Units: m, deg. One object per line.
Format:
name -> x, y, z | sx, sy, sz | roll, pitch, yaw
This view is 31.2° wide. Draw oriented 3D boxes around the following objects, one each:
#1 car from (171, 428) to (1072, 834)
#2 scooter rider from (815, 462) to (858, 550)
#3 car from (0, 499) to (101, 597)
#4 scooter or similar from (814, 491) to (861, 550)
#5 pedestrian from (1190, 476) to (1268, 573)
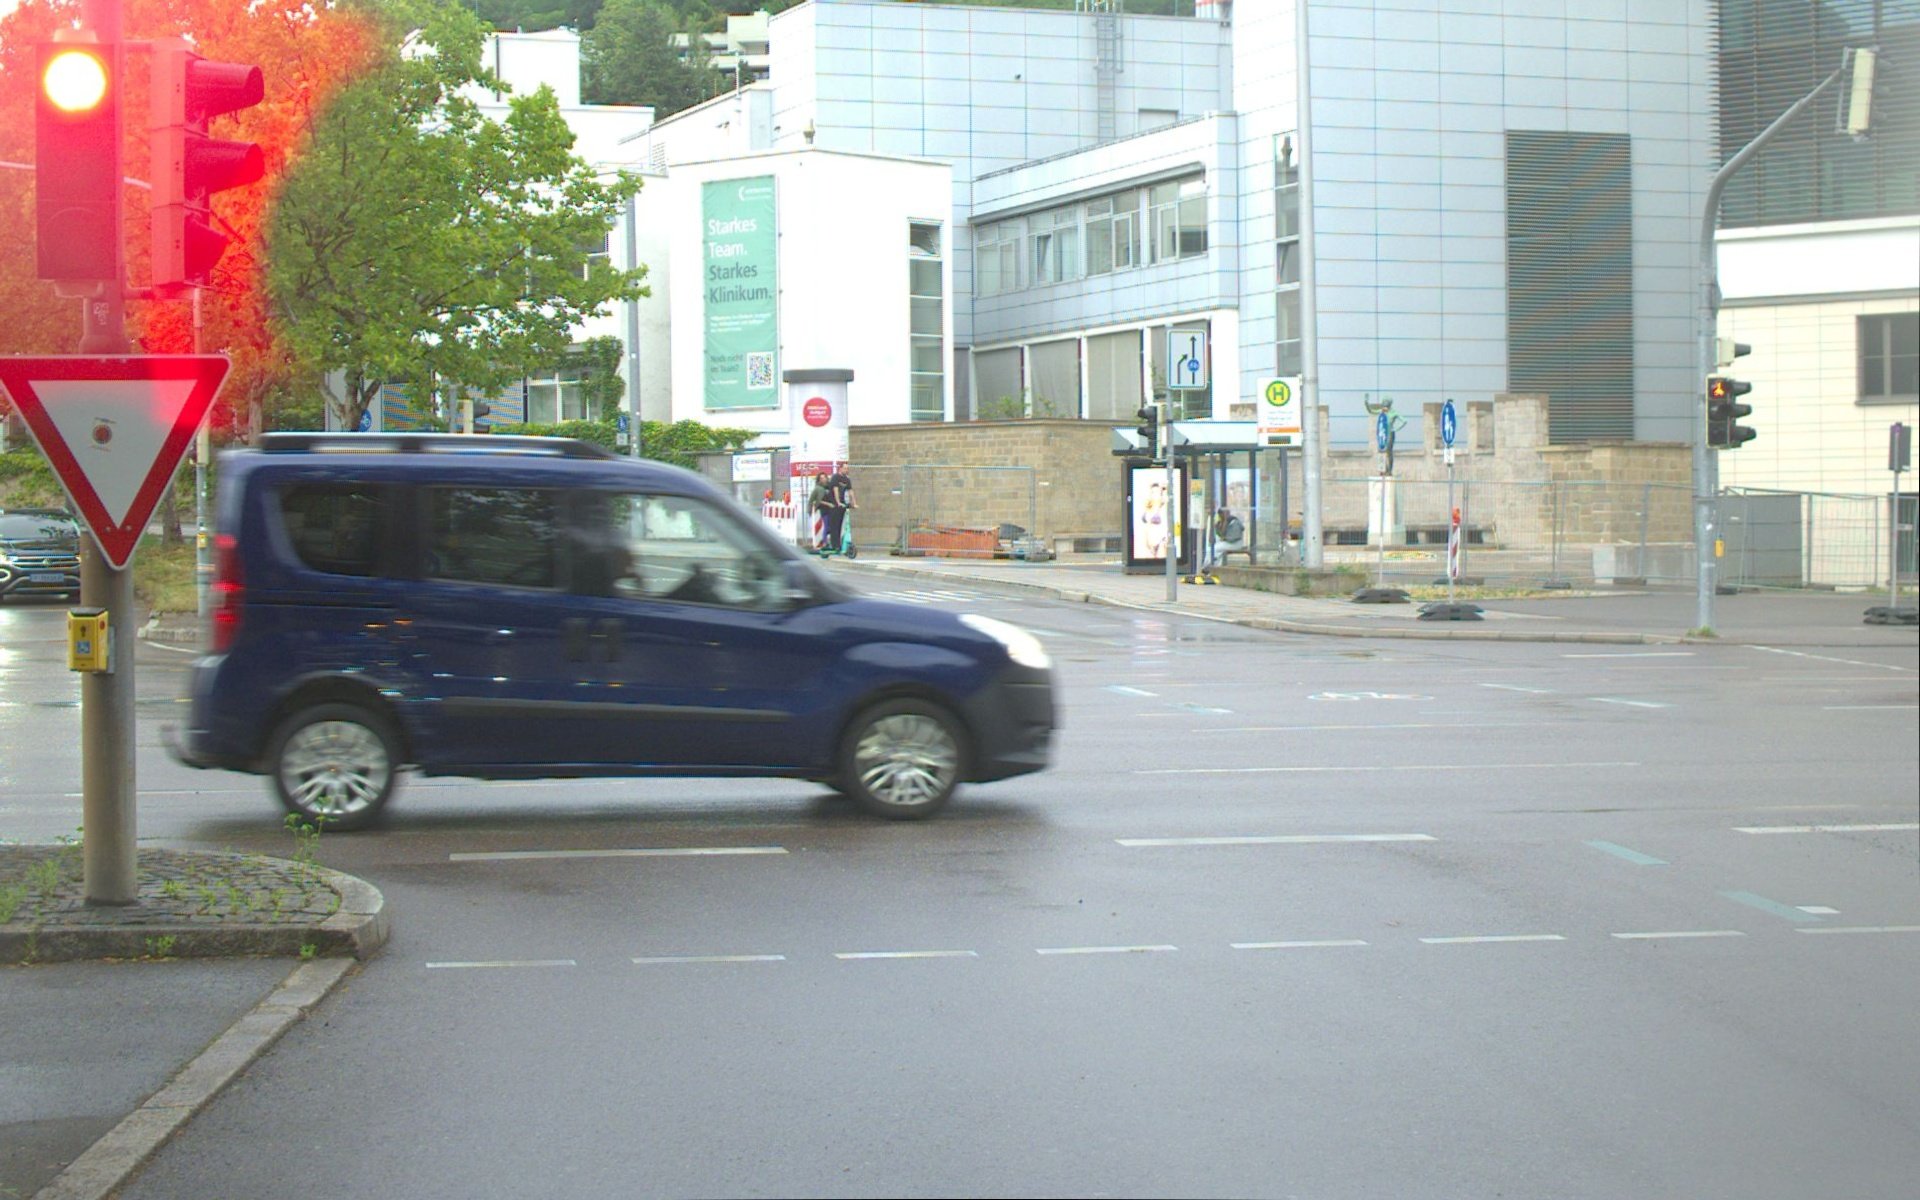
car -> -1.723, 0.103, 17.330 | 4.294, 1.901, 1.798 | 0, 2, -10
scooter rider -> -2.667, -2.021, 74.003 | 0.723, 1.877, 0.632 | 1, 0, -20
car -> -15.679, -0.904, 57.938 | 1.788, 1.579, 4.001 | -1, 2, -22
scooter or similar -> -2.642, -1.705, 74.044 | 0.591, 1.234, 1.314 | 1, 0, -22
pedestrian -> 4.843, -1.351, 61.990 | 1.257, 1.713, 1.016 | 1, 0, -2
